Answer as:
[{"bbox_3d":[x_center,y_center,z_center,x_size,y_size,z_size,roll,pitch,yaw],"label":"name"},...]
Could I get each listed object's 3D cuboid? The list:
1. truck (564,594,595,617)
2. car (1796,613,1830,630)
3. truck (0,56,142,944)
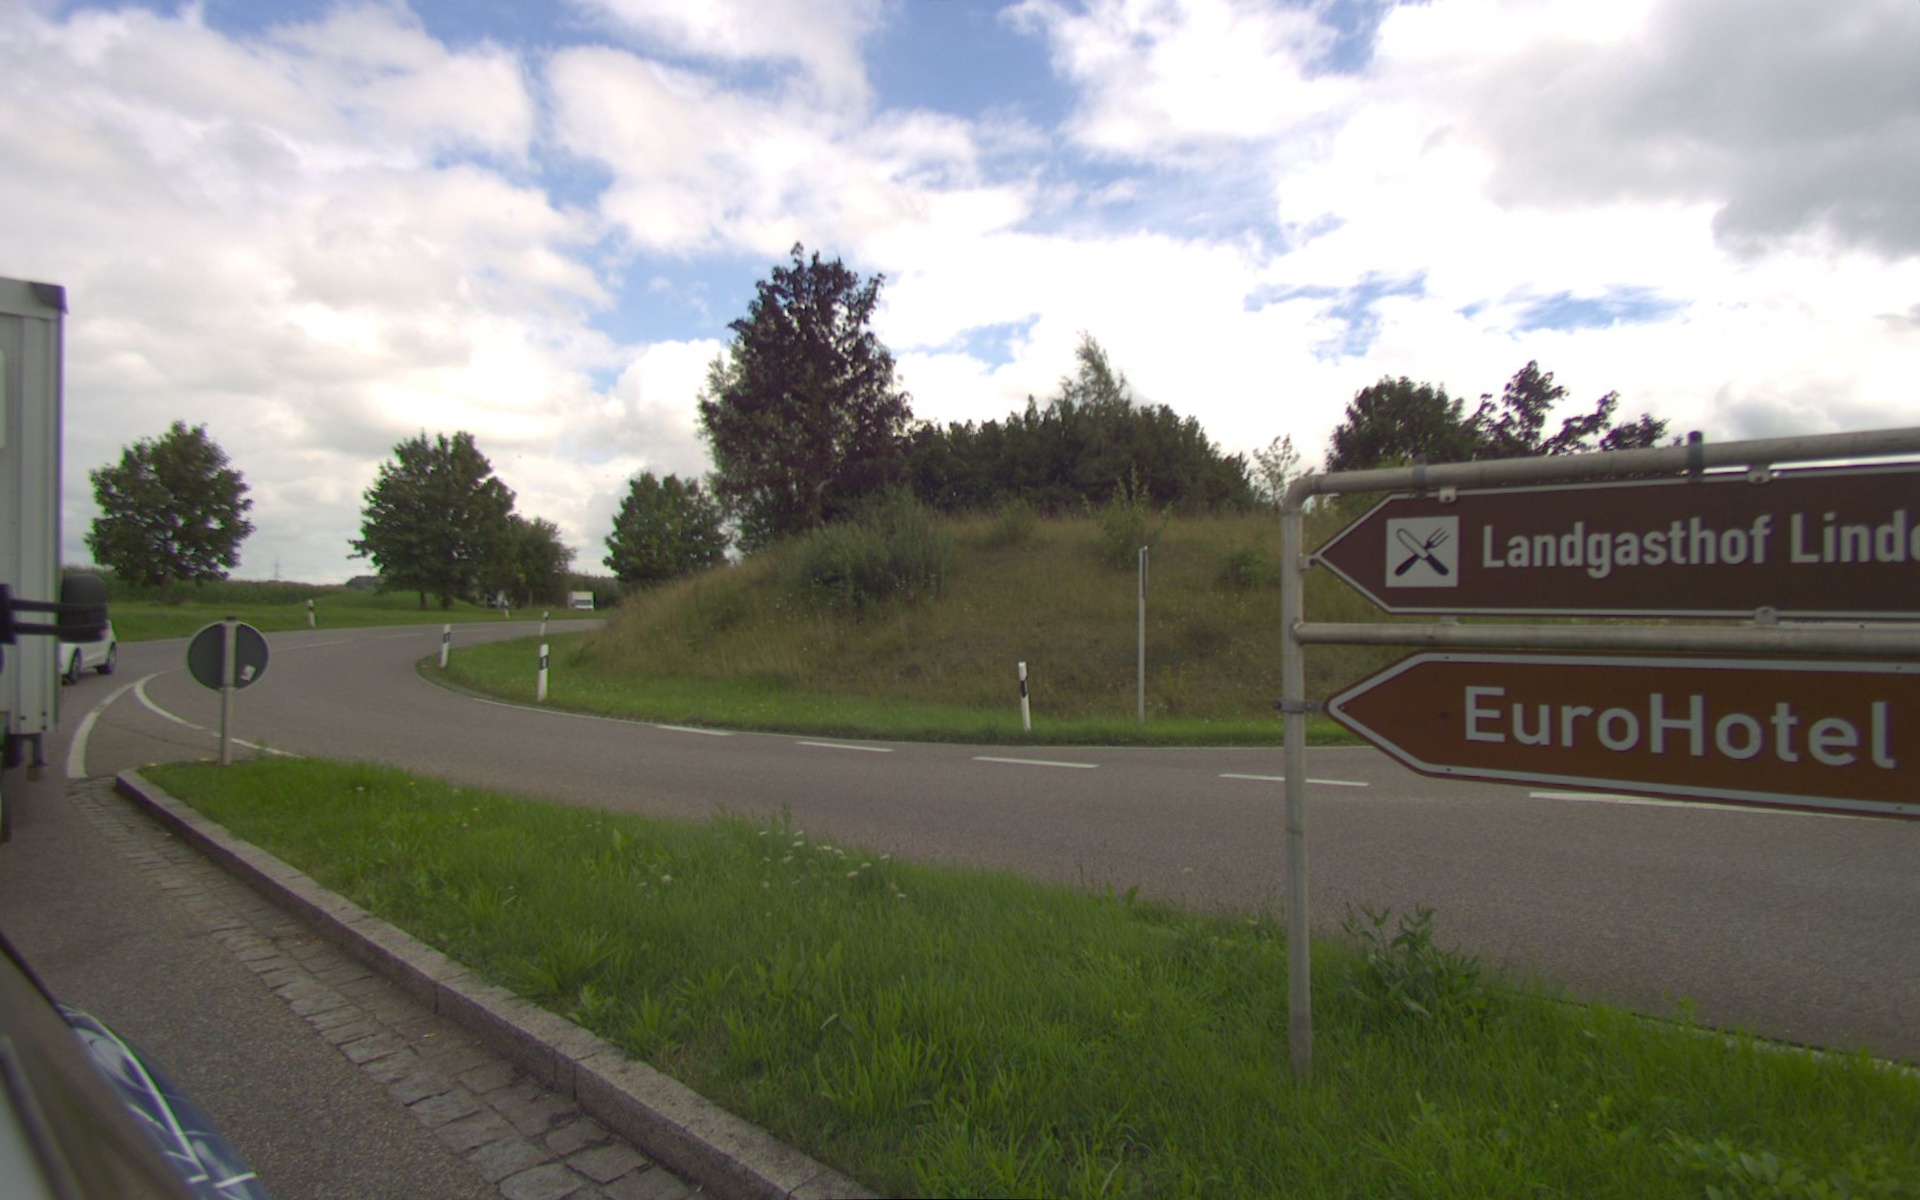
[{"bbox_3d":[-42.183,0.634,112.030,2.253,2.439,6.401,0,-1,-30],"label":"truck"},{"bbox_3d":[84.785,2.135,100.607,1.841,1.702,3.960,0,-1,29],"label":"car"},{"bbox_3d":[-7.897,-0.430,6.726,8.804,3.792,2.798,0,-2,45],"label":"truck"}]
